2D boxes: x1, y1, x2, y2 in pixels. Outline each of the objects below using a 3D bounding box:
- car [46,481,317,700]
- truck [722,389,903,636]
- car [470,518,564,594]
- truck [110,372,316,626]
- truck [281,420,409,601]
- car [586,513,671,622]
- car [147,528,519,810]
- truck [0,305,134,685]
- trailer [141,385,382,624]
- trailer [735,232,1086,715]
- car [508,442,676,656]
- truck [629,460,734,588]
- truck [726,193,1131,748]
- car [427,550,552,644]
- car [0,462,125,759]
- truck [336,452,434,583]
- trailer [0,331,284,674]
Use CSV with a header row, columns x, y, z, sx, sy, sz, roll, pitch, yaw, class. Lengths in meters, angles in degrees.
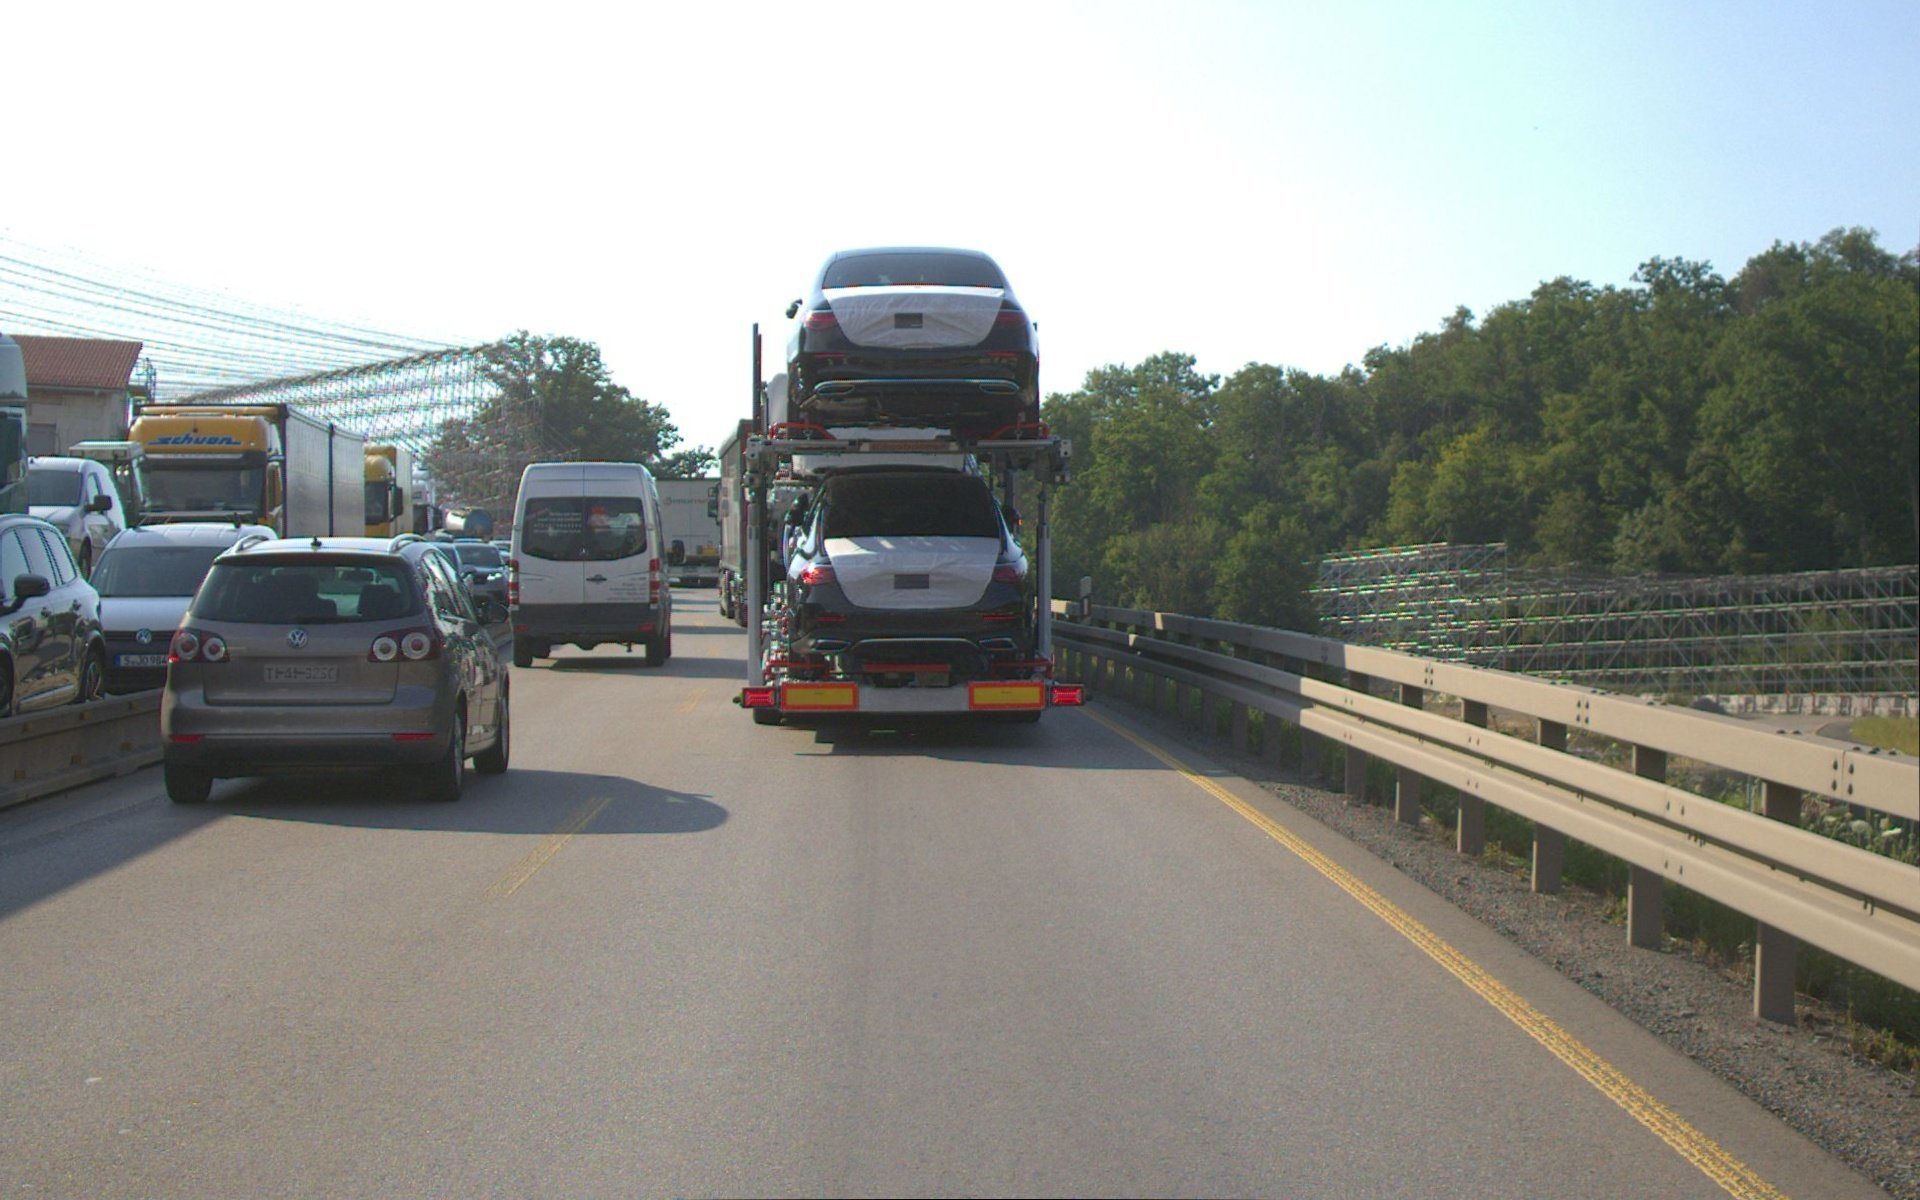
x,y,z,sx,sy,sz,roll,pitch,yaw,class
-7.663,-0.083,34.286,1.823,1.927,5.131,-3,0,-4,car
-3.197,-1.802,70.862,3.227,4.661,11.698,0,1,-5,truck
-10.221,-0.995,79.598,1.926,1.696,4.692,-1,0,-5,car
-12.738,-1.650,59.014,2.701,4.126,5.795,-1,0,-5,truck
-14.685,-2.091,82.337,2.693,4.182,4.399,-1,0,-6,truck
-6.473,-0.611,67.227,1.528,2.007,4.001,2,0,-5,car
-3.823,0.387,21.587,1.700,1.581,4.147,-1,0,-2,car
-11.122,-1.056,37.613,2.748,3.792,7.112,-1,1,-3,truck
-13.503,-1.660,67.956,2.714,4.120,16.754,-1,0,-5,trailer
-0.749,-1.055,36.094,2.874,3.980,15.281,-1,0,-3,trailer
-4.816,-0.647,45.426,1.979,2.675,4.147,-1,0,-3,car
-10.648,-2.904,130.492,3.647,4.661,11.698,0,1,-6,truck
-0.354,-0.935,27.555,2.869,3.966,5.772,-1,0,-3,truck
-8.511,-0.054,62.569,1.959,1.639,4.849,-1,0,-4,car
-7.308,0.079,24.231,1.833,1.957,4.899,0,0,-2,car
-19.060,-2.610,114.532,2.808,3.956,13.896,1,0,-8,truck
-11.628,-1.141,46.217,2.748,3.802,16.049,-1,1,-3,trailer
